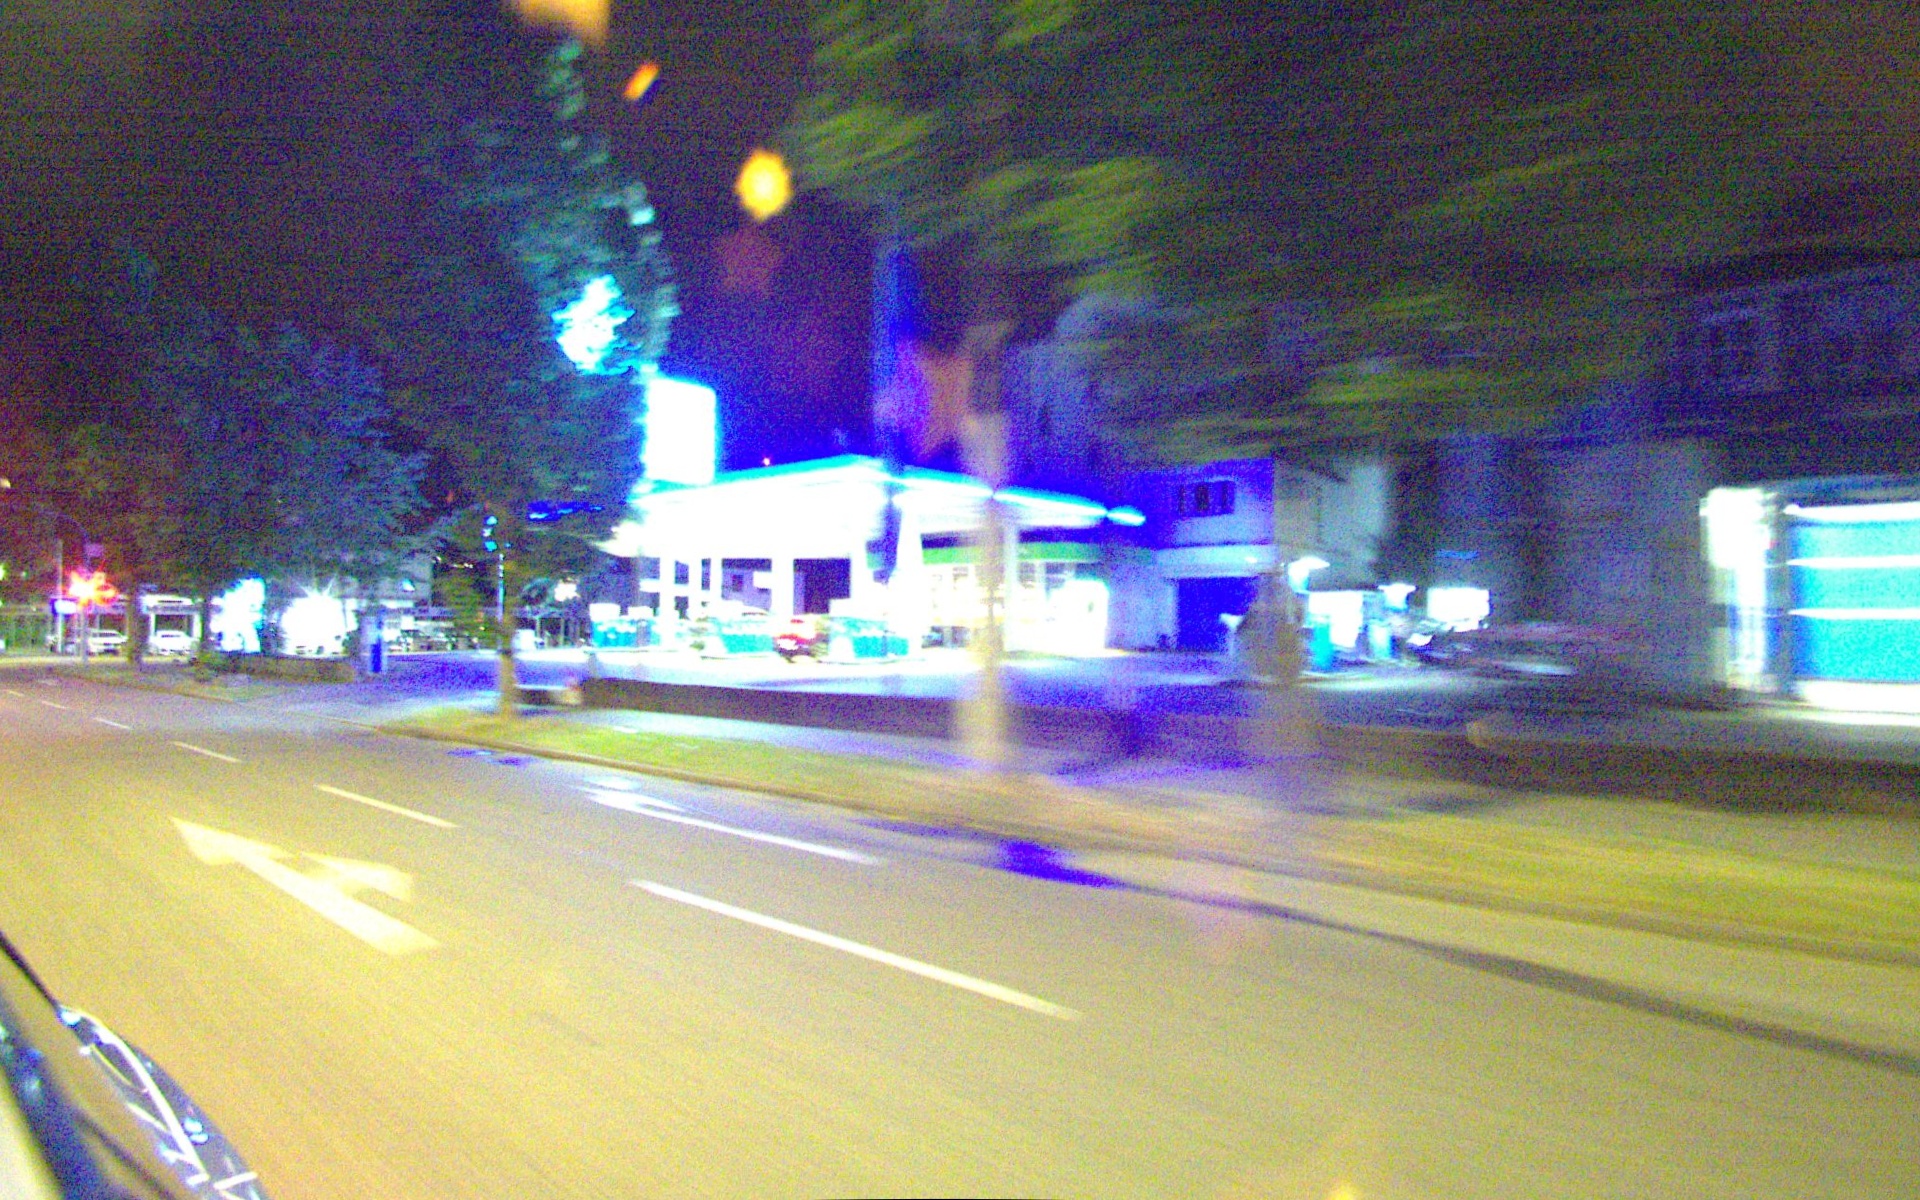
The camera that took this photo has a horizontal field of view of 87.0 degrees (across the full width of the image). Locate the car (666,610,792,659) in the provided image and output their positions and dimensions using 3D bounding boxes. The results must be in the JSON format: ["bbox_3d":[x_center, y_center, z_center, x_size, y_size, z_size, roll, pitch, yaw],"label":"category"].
[{"bbox_3d":[-8.594,1.274,37.956,1.977,1.740,4.302,-2,-2,40],"label":"car"}]

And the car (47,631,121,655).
[{"bbox_3d":[-59.161,2.912,68.398,1.632,1.598,3.531,-1,-3,39],"label":"car"}]

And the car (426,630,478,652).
[{"bbox_3d":[-36.315,2.895,72.305,4.083,1.489,1.840,-2,-2,40],"label":"car"}]

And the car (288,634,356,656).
[{"bbox_3d":[-46.622,3.300,74.062,1.716,1.489,4.257,-1,-1,13],"label":"car"}]

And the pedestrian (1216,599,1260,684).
[{"bbox_3d":[5.421,0.803,19.734,0.642,1.618,0.570,-1,-2,39],"label":"pedestrian"}]

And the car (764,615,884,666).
[{"bbox_3d":[-4.317,1.271,32.551,1.669,1.544,3.712,-2,-2,40],"label":"car"}]

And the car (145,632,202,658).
[{"bbox_3d":[-46.670,2.620,60.013,4.067,1.472,1.840,-2,-2,40],"label":"car"}]

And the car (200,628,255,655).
[{"bbox_3d":[-45.430,2.555,62.711,4.067,1.565,1.840,-2,-2,40],"label":"car"}]

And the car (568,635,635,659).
[{"bbox_3d":[-23.552,3.065,66.551,1.735,1.422,3.803,-1,-2,39],"label":"car"}]

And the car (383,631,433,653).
[{"bbox_3d":[-38.144,2.894,69.930,4.083,1.489,1.710,-2,-2,40],"label":"car"}]

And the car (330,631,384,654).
[{"bbox_3d":[-40.286,2.816,67.586,4.350,1.489,1.840,-2,-2,40],"label":"car"}]

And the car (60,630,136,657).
[{"bbox_3d":[-56.514,2.816,66.401,1.633,1.712,3.530,-1,-3,40],"label":"car"}]

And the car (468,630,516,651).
[{"bbox_3d":[-34.732,2.990,75.090,4.024,1.489,1.758,-2,-2,40],"label":"car"}]

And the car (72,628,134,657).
[{"bbox_3d":[-48.806,2.390,57.594,4.383,1.569,1.974,-2,-1,39],"label":"car"}]

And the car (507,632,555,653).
[{"bbox_3d":[-32.428,3.188,76.411,3.955,1.489,1.743,-2,-2,40],"label":"car"}]

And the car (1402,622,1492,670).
[{"bbox_3d":[13.850,1.286,28.706,1.573,1.275,3.116,-2,-3,40],"label":"car"}]
